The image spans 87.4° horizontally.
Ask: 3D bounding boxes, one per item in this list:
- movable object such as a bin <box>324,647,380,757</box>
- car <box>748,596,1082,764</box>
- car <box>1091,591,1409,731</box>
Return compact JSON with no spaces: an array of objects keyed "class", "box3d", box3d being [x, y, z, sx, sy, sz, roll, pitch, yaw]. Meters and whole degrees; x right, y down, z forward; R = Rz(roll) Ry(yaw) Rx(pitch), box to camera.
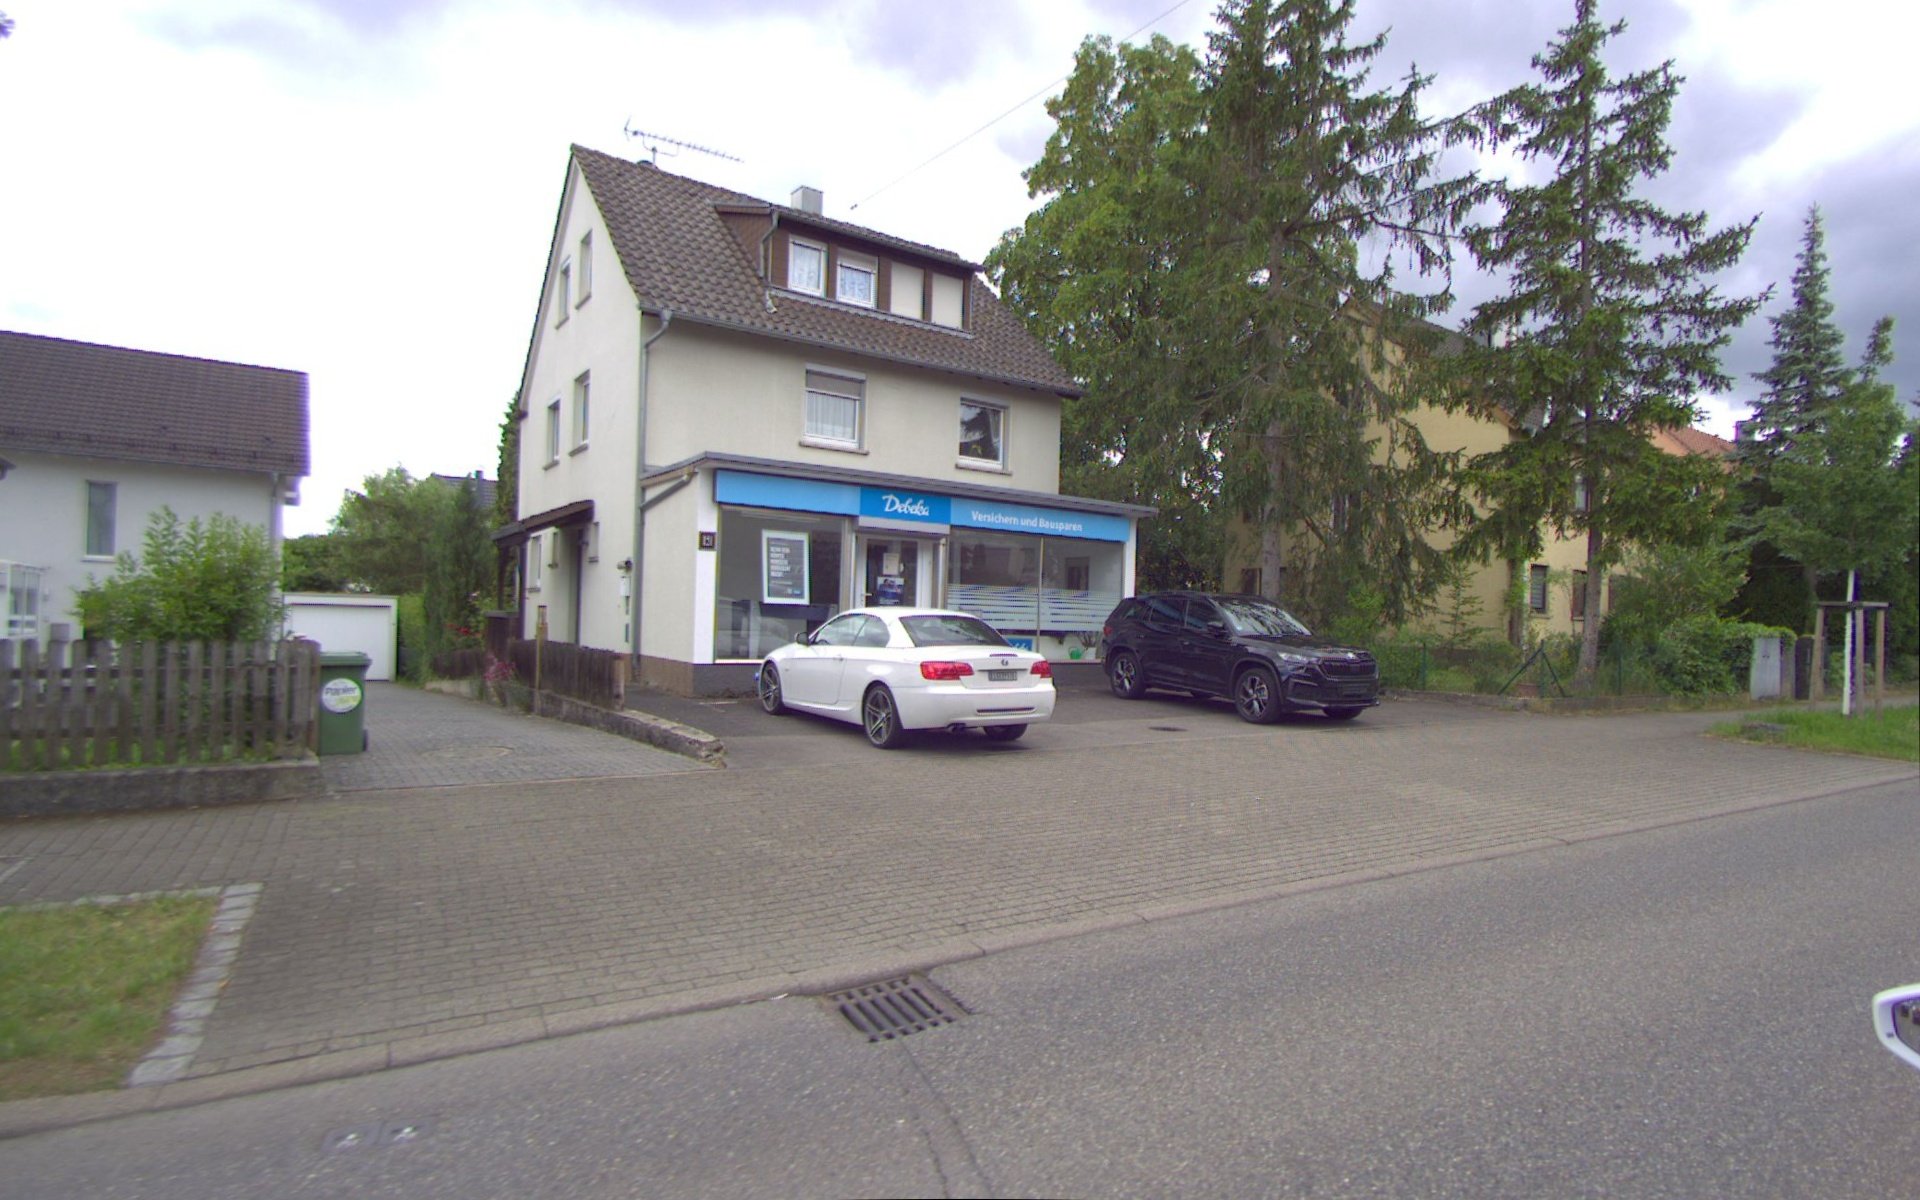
[{"class":"movable object such as a bin","box3d":[-5.536,0.921,9.150,0.424,0.973,0.132,1,0,-34]},{"class":"car","box3d":[-0.720,0.751,11.439,1.798,1.386,4.250,2,1,-35]},{"class":"car","box3d":[3.948,0.752,14.492,1.948,1.639,4.316,2,0,-27]}]
